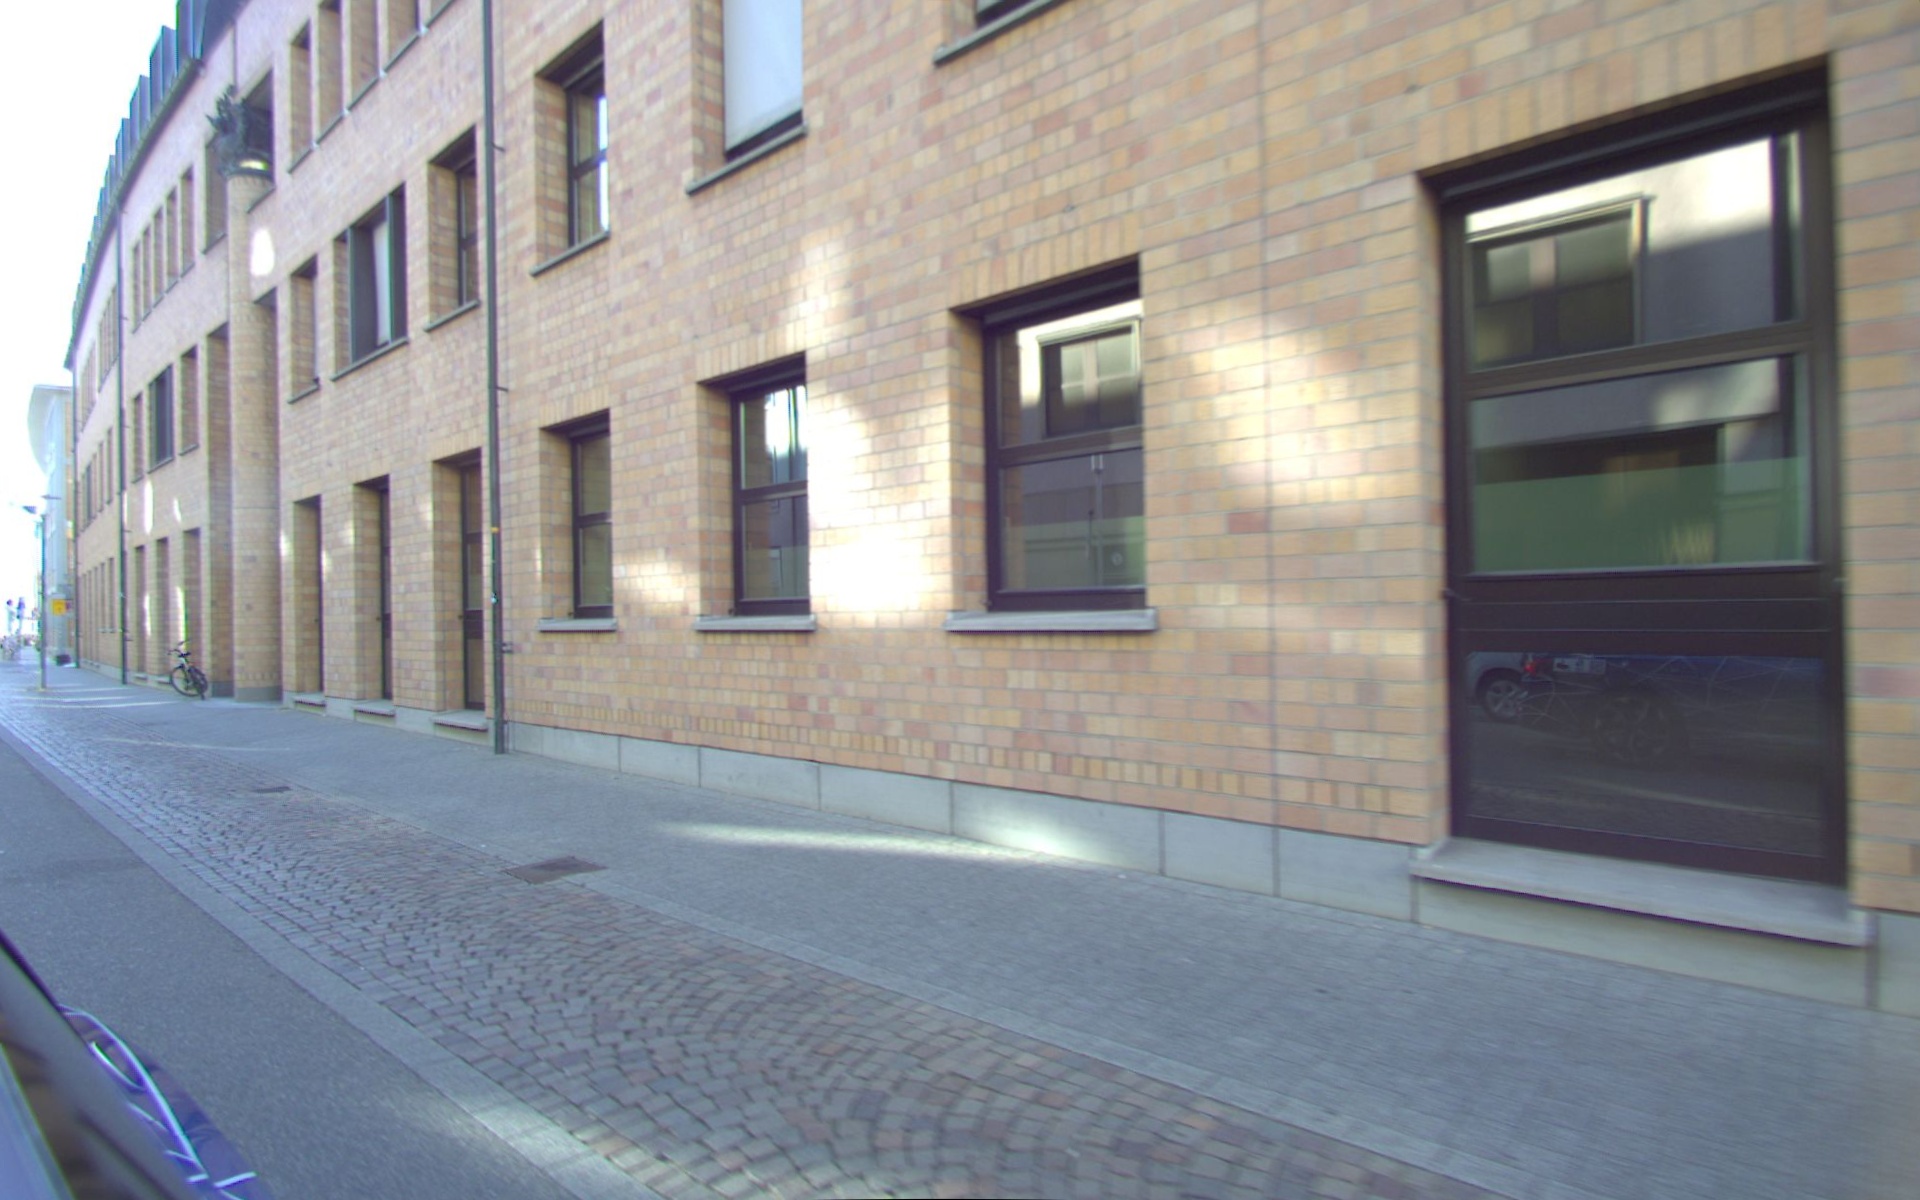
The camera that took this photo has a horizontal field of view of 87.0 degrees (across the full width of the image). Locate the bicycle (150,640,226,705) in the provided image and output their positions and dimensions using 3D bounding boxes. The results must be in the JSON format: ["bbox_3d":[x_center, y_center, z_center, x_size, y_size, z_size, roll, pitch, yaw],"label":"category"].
[{"bbox_3d":[-15.179,1.405,19.894,1.800,1.171,0.626,-2,2,36],"label":"bicycle"}]
